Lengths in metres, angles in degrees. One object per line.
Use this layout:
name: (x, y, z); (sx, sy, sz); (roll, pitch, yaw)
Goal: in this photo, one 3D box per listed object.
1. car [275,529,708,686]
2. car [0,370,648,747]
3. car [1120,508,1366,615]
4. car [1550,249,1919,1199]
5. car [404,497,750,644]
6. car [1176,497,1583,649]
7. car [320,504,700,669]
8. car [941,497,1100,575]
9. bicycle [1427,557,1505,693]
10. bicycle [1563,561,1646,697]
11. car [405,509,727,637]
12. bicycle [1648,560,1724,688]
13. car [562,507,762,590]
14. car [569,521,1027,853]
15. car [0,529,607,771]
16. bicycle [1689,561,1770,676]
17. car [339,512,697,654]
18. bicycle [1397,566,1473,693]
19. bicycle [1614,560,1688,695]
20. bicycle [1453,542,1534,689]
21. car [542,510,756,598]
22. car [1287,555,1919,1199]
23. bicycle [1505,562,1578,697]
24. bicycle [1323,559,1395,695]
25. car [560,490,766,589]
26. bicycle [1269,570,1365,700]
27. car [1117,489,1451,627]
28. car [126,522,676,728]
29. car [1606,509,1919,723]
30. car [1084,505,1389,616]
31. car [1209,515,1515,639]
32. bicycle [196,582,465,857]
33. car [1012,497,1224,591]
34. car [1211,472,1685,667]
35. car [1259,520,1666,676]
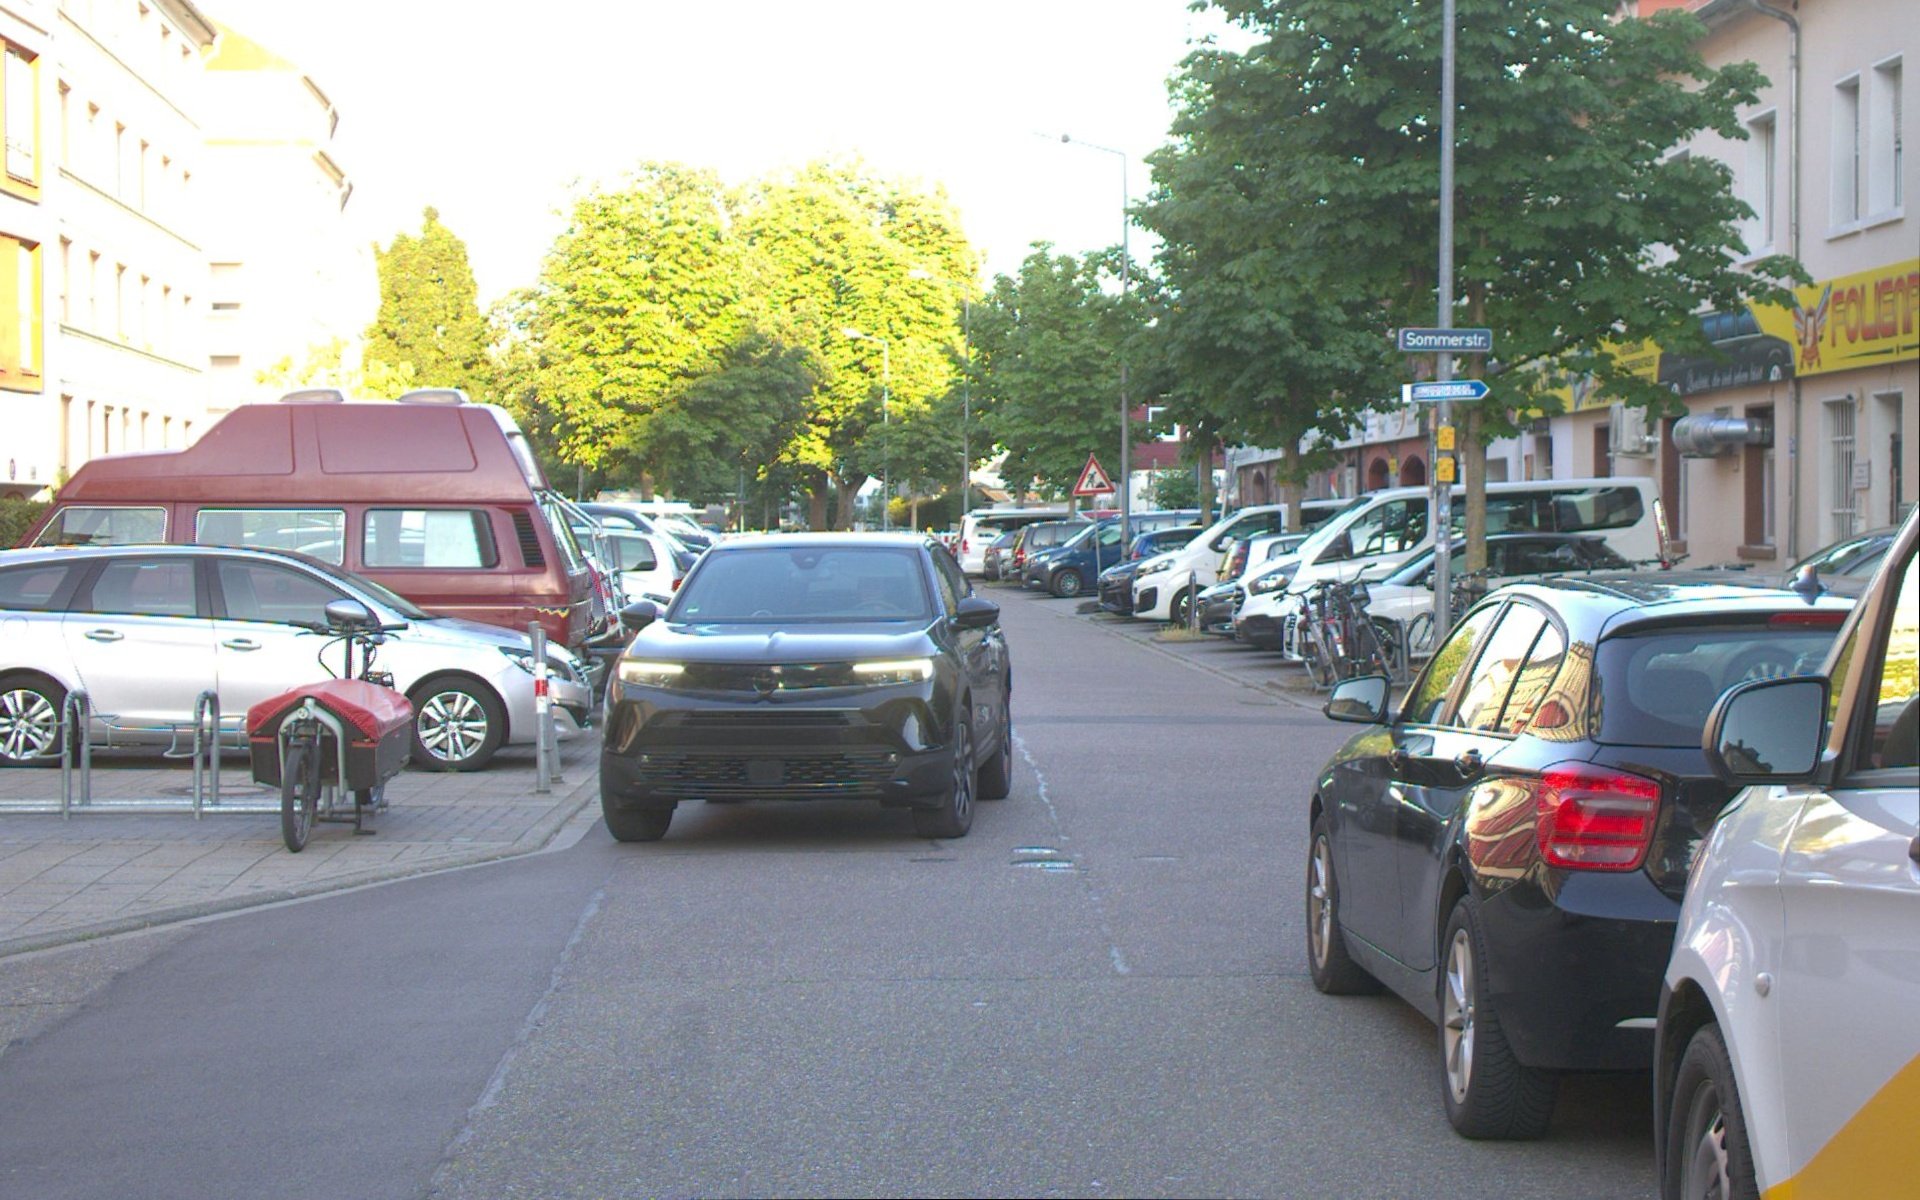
car: (-4.789, 0.052, 35.568); (4.209, 1.484, 1.850); (1, 1, 0)
car: (-4.682, -0.320, 25.380); (4.511, 2.575, 2.000); (1, 1, 1)
car: (5.248, -0.732, 64.010); (4.316, 1.798, 1.811); (-2, 1, -2)
car: (2.189, 0.496, 4.277); (1.893, 1.877, 5.083); (0, 1, -2)
car: (-5.563, -0.446, 50.361); (4.850, 2.014, 1.907); (1, 1, -1)
car: (5.348, -0.363, 44.344); (4.944, 1.736, 2.049); (-2, 1, 0)
car: (-5.305, -0.180, 40.982); (4.256, 1.830, 2.000); (1, 1, -1)
car: (1.602, -1.719, 92.143); (3.967, 1.905, 2.050); (-2, 1, -5)
bicycle: (4.707, 0.213, 32.078); (0.386, 1.196, 2.017); (-1, 1, -1)
bicycle: (5.973, 0.256, 31.908); (0.445, 1.196, 1.481); (-1, 1, -1)
car: (-5.437, -0.393, 47.807); (4.256, 1.646, 1.888); (1, 1, -1)
bicycle: (6.748, 0.212, 31.984); (0.353, 1.139, 1.481); (-1, 1, -1)
car: (-6.584, -1.151, 76.215); (4.256, 1.743, 2.000); (1, 1, -1)
car: (-0.726, 0.368, 18.069); (1.780, 1.512, 3.999); (-1, 1, 6)
car: (-4.704, 0.302, 22.815); (4.615, 1.455, 1.881); (1, 1, -4)
bicycle: (7.164, 0.162, 32.031); (0.387, 1.013, 1.481); (-1, 1, -1)
car: (-5.536, -0.235, 43.452); (4.256, 1.654, 2.000); (1, 1, -1)
bicycle: (4.422, 0.259, 32.091); (0.386, 1.110, 2.017); (-1, 1, -1)
bicycle: (6.402, 0.238, 31.901); (0.353, 1.196, 1.481); (-1, 1, -1)
bicycle: (4.968, 0.125, 32.087); (0.386, 1.300, 2.017); (-1, 1, -1)
car: (-6.438, -0.974, 71.446); (4.256, 1.709, 2.000); (1, 1, -1)
car: (2.049, 0.621, 9.746); (1.721, 1.419, 4.254); (1, 1, -1)
bicycle: (5.394, 0.261, 31.936); (0.386, 1.196, 1.481); (-1, 1, -1)
bicycle: (3.711, 0.234, 32.053); (0.386, 1.196, 2.017); (-1, 1, -1)
car: (-6.783, -1.395, 78.846); (4.533, 2.127, 2.000); (1, 1, -1)
bicycle: (3.298, 0.303, 31.865); (0.438, 1.126, 2.018); (-1, 1, -6)
car: (5.071, -0.677, 54.278); (4.943, 1.951, 2.049); (-2, 1, -2)
car: (-4.467, 0.181, 27.962); (4.208, 1.532, 1.791); (1, 1, -3)
car: (7.254, 0.083, 26.873); (4.050, 1.509, 1.756); (-1, 3, 0)
car: (4.715, -0.693, 59.100); (4.943, 1.683, 2.077); (-2, 1, -2)
car: (5.454, -0.329, 46.979); (3.911, 1.521, 1.939); (-2, 1, 0)
bicycle: (-3.157, 0.553, 17.533); (0.808, 1.217, 2.865); (1, 1, 0)
car: (3.510, -1.247, 76.676); (4.478, 1.905, 1.688); (-2, 1, -5)
car: (5.463, -0.363, 38.998); (4.990, 1.976, 2.220); (-2, 1, 0)
car: (5.246, -0.045, 36.216); (3.918, 1.446, 1.769); (-2, 1, -3)
